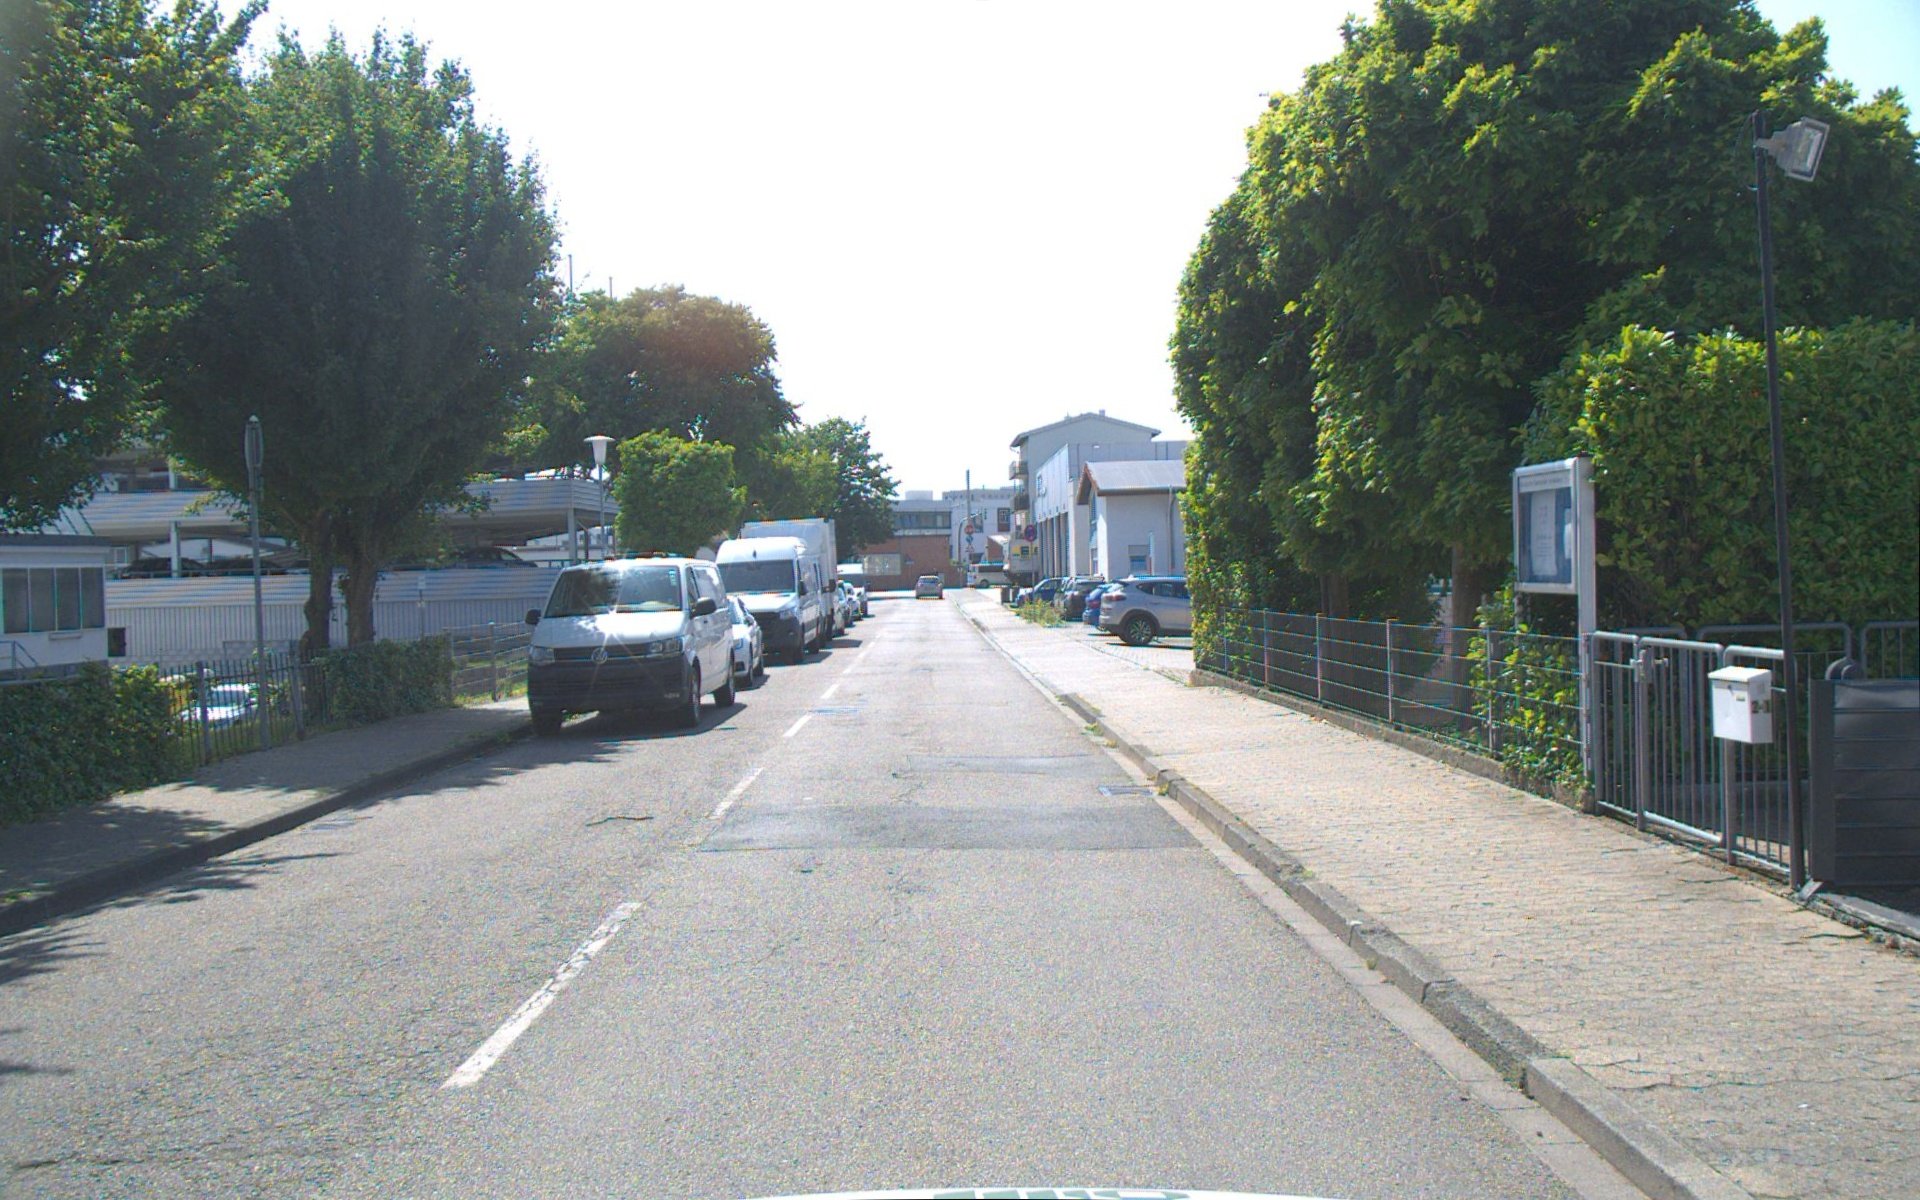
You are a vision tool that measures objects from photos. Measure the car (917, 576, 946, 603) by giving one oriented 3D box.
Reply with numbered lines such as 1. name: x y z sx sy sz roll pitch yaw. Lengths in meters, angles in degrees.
1. car: -1.924 -0.687 109.347 1.852 1.714 3.956 1 0 -2

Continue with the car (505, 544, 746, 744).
1. car: -3.963 0.470 20.508 1.932 2.048 5.055 -3 0 -1

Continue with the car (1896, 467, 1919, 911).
1. car: 5.822 0.275 5.580 4.316 1.682 1.842 -2 0 -4

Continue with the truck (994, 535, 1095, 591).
1. truck: 6.523 -2.891 128.618 7.222 3.708 2.763 -5 1 -7

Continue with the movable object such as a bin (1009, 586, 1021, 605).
1. movable object such as a bin: 2.824 -0.215 85.349 0.502 0.962 0.488 -2 1 10

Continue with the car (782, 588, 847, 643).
1. car: -4.483 0.457 51.530 1.706 1.547 4.309 -2 1 -1

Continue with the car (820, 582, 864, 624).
1. car: -5.035 0.122 70.224 1.672 1.652 3.969 -3 1 -6

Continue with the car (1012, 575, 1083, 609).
1. car: 4.089 -0.383 77.368 3.187 1.423 1.673 -2 1 -1

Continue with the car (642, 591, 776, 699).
1. car: -4.114 0.694 27.702 1.680 1.570 4.398 -3 0 -3

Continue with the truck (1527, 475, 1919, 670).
1. truck: 16.223 -0.572 33.992 8.104 3.674 2.954 -1 0 1

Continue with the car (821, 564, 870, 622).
1. car: -5.181 -0.353 75.395 1.966 2.407 5.227 -4 1 -3

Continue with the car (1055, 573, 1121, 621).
1. car: 4.587 -0.138 59.941 1.821 1.595 4.950 -2 1 -2

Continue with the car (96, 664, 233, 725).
1. car: -23.598 2.782 49.228 1.952 1.467 4.002 -2 1 2

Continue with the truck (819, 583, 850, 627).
1. truck: -5.036 0.182 66.615 1.116 1.650 3.139 -4 1 -3

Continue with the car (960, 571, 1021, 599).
1. car: 2.526 -1.212 136.761 4.587 1.992 1.905 -3 -1 -20

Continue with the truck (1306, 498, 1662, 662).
1. truck: 11.957 -0.451 38.161 7.365 3.483 2.526 1 0 -1

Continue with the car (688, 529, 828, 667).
1. car: -4.308 -0.039 36.514 2.124 2.641 6.919 -3 0 0

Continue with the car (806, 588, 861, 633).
1. car: -4.626 0.353 60.844 1.670 1.488 4.113 -3 1 -1

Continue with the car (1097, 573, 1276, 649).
1. car: 5.535 0.262 40.720 4.116 1.711 1.766 1 0 -2

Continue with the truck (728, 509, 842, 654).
1. truck: -4.530 -0.450 44.056 2.632 3.425 7.124 -2 0 -4

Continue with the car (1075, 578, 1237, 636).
1. car: 5.507 0.183 46.775 4.265 1.466 1.891 -2 0 -2
